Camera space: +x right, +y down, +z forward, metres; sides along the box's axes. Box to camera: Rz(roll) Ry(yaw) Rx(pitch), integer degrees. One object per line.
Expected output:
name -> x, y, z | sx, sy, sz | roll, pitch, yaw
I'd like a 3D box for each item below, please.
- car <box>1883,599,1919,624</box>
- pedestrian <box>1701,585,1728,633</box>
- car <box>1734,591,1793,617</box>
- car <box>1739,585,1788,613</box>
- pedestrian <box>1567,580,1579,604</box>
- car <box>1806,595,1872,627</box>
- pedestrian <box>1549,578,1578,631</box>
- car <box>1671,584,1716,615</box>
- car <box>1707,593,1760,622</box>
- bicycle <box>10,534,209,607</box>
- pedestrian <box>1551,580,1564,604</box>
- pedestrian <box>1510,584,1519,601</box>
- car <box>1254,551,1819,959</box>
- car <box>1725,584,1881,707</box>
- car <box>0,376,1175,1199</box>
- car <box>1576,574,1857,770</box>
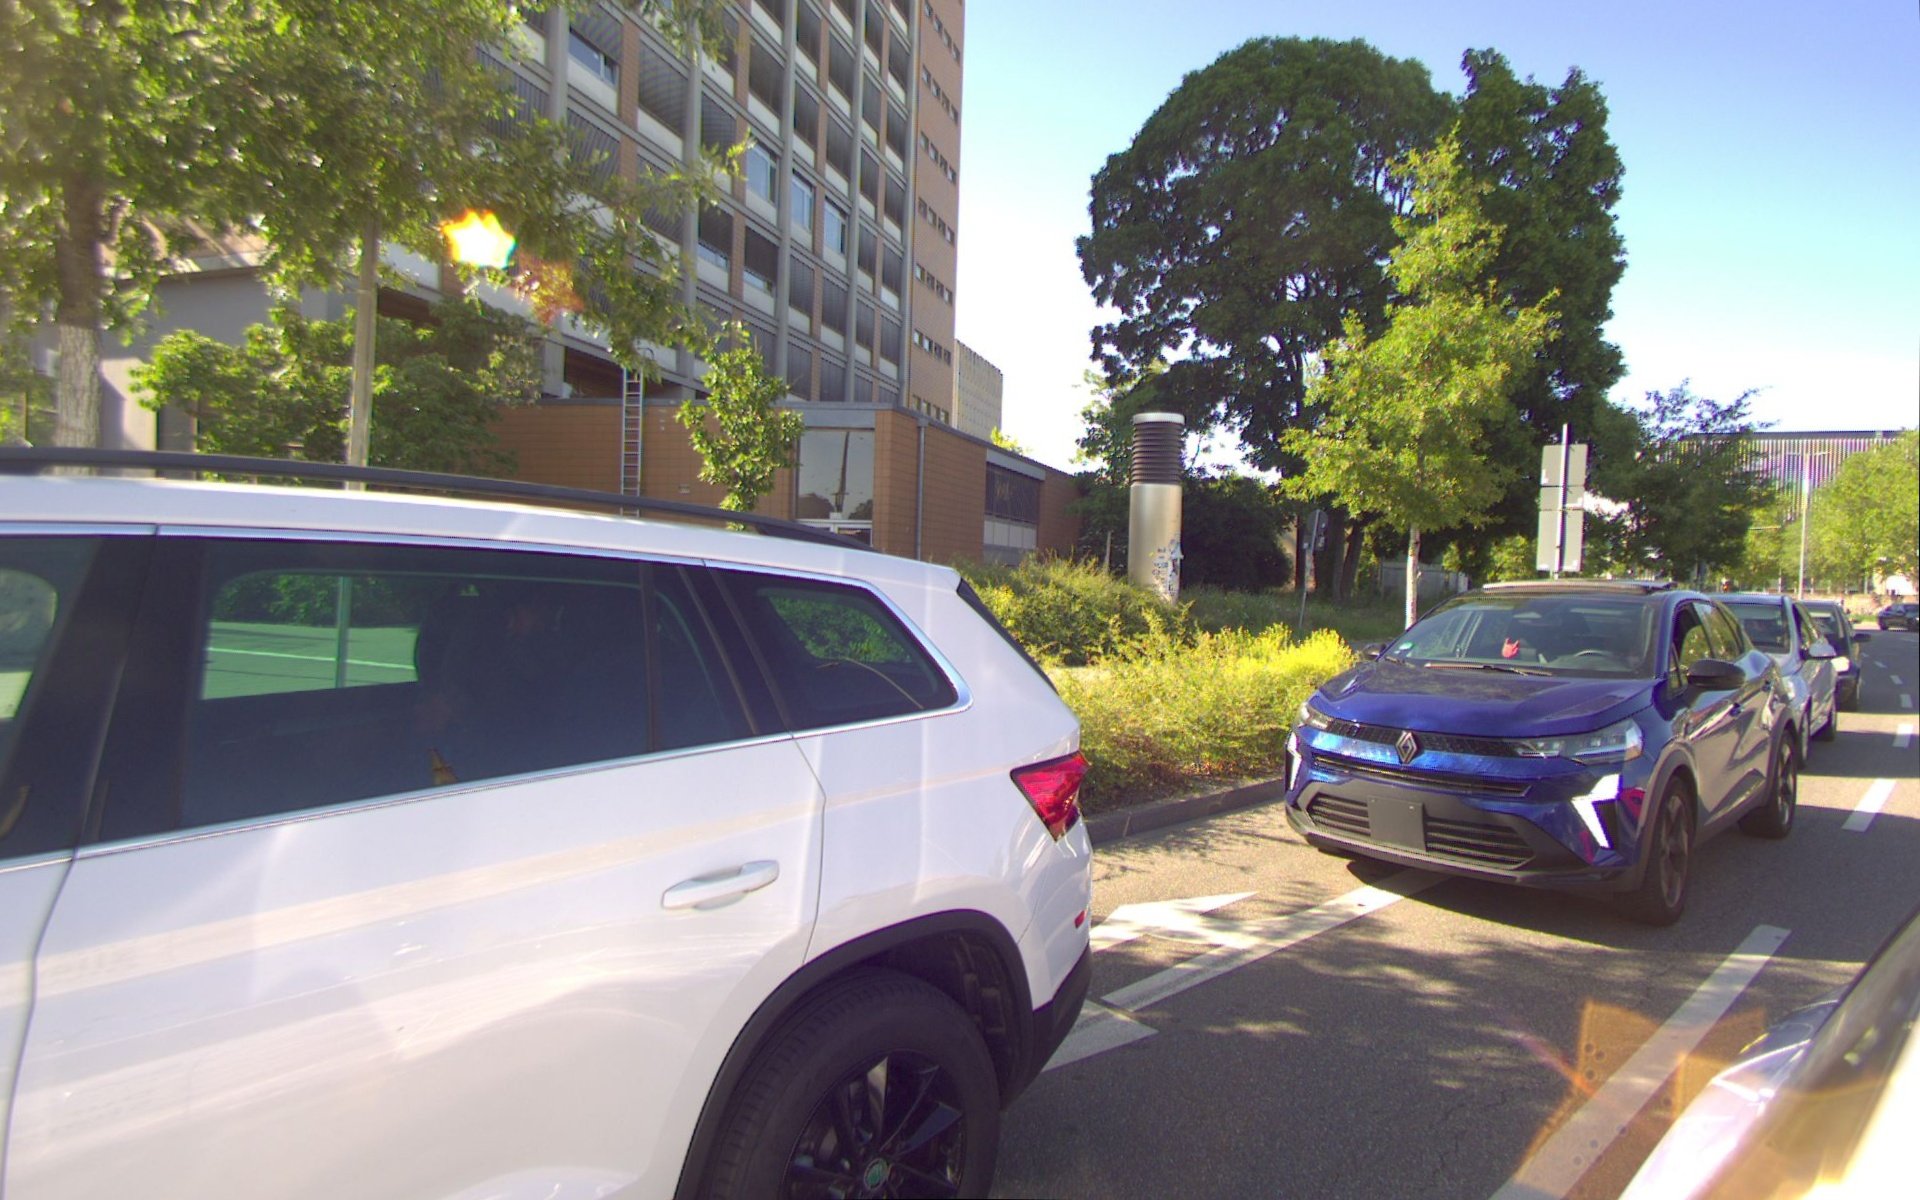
car -> 48.481, 0.602, 50.690 | 1.562, 1.219, 3.983 | 2, 1, 14
pedestrian -> 26.231, 0.320, 35.182 | 0.659, 1.624, 0.682 | 2, 1, 44
car -> 48.861, 0.218, 61.607 | 1.862, 1.500, 3.967 | 1, 1, 24
car -> 61.465, -0.124, 77.473 | 1.767, 2.039, 4.201 | 1, 1, 22
pedestrian -> 50.756, -0.666, 83.795 | 0.813, 1.941, 0.766 | 0, 0, 24
car -> 40.984, 0.471, 47.267 | 1.740, 1.396, 3.533 | 1, 1, 32
pedestrian -> 18.810, 0.140, 31.540 | 0.688, 1.624, 0.653 | 2, 1, 35
car -> 47.181, -0.055, 65.193 | 1.812, 1.876, 3.714 | 2, 1, 29
car -> 40.801, 0.363, 53.463 | 1.738, 1.494, 3.537 | 0, 1, 30
bicycle -> -17.545, -0.599, 21.014 | 0.790, 1.394, 3.111 | 2, 1, 26
pedestrian -> 49.910, -0.673, 84.520 | 0.813, 1.941, 0.766 | 0, 0, 24
pedestrian -> 62.371, -0.848, 113.899 | 0.812, 1.941, 0.766 | 0, 0, 23
car -> 3.616, 0.603, 6.008 | 4.013, 1.626, 1.703 | 0, 1, -42
car -> 13.110, 0.614, 15.673 | 1.646, 1.631, 3.435 | 3, 2, 43
car -> -1.621, 0.568, 1.667 | 4.223, 1.662, 1.697 | 0, 2, -42
car -> 8.075, 0.599, 10.661 | 3.977, 1.645, 1.782 | 0, 2, -45
